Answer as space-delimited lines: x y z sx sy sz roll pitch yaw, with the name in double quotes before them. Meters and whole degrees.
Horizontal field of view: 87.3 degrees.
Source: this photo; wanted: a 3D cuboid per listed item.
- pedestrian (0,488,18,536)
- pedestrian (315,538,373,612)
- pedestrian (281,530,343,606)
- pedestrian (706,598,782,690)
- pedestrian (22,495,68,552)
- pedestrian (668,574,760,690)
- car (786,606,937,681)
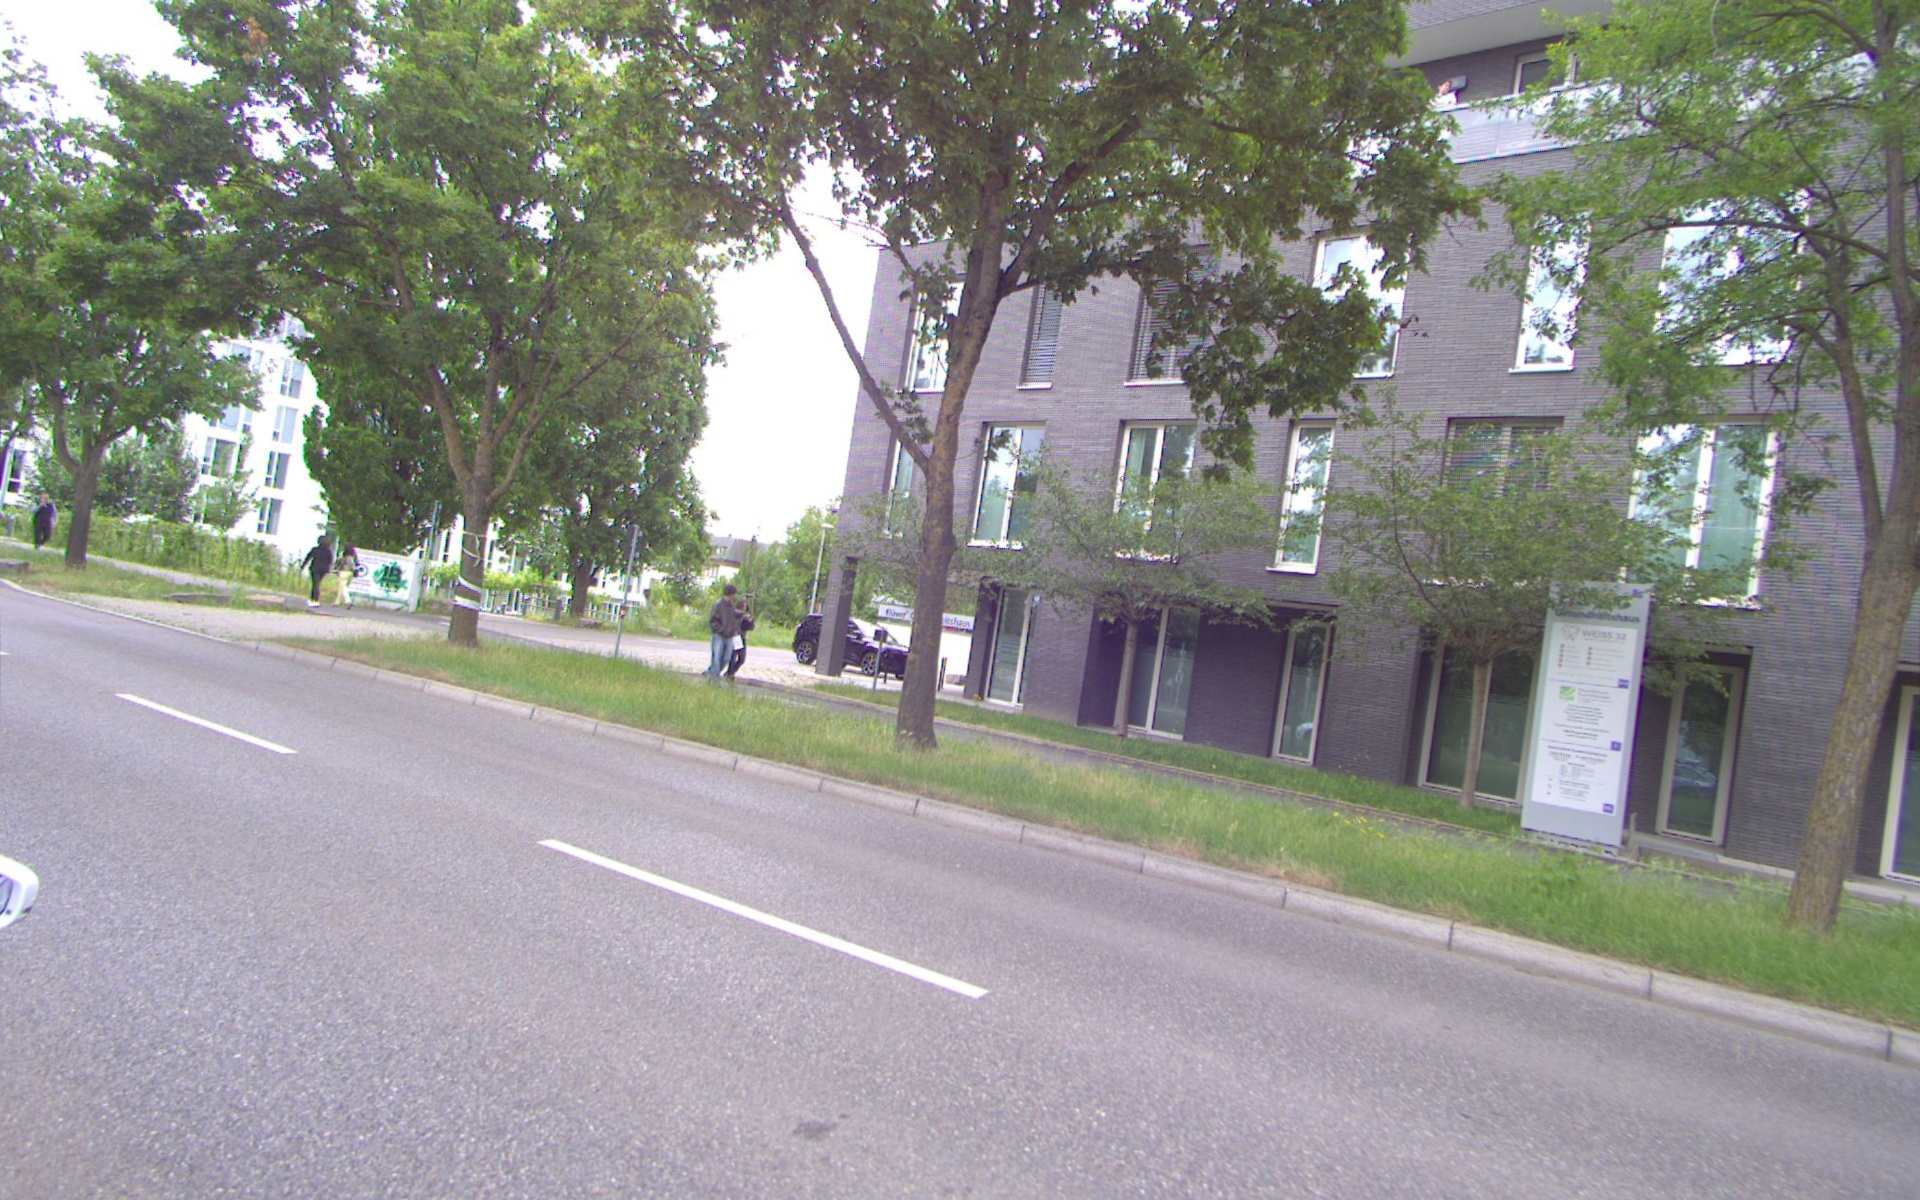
"pedestrian" -35.608 -3.293 37.192 0.869 1.705 0.768 6 -1 31
"pedestrian" -15.360 -0.625 25.094 0.938 1.679 0.779 6 -2 38
"pedestrian" -15.754 -0.786 24.464 1.043 1.679 0.796 6 -2 38
"pedestrian" -4.018 0.821 18.724 0.861 1.575 0.834 6 -2 33
"pedestrian" -27.749 -2.319 30.513 0.663 1.592 0.743 6 -1 31
"pedestrian" -4.346 0.573 17.812 0.963 1.889 0.961 6 -2 33
"car" -2.956 1.273 29.851 4.081 1.665 1.759 6 -2 32
